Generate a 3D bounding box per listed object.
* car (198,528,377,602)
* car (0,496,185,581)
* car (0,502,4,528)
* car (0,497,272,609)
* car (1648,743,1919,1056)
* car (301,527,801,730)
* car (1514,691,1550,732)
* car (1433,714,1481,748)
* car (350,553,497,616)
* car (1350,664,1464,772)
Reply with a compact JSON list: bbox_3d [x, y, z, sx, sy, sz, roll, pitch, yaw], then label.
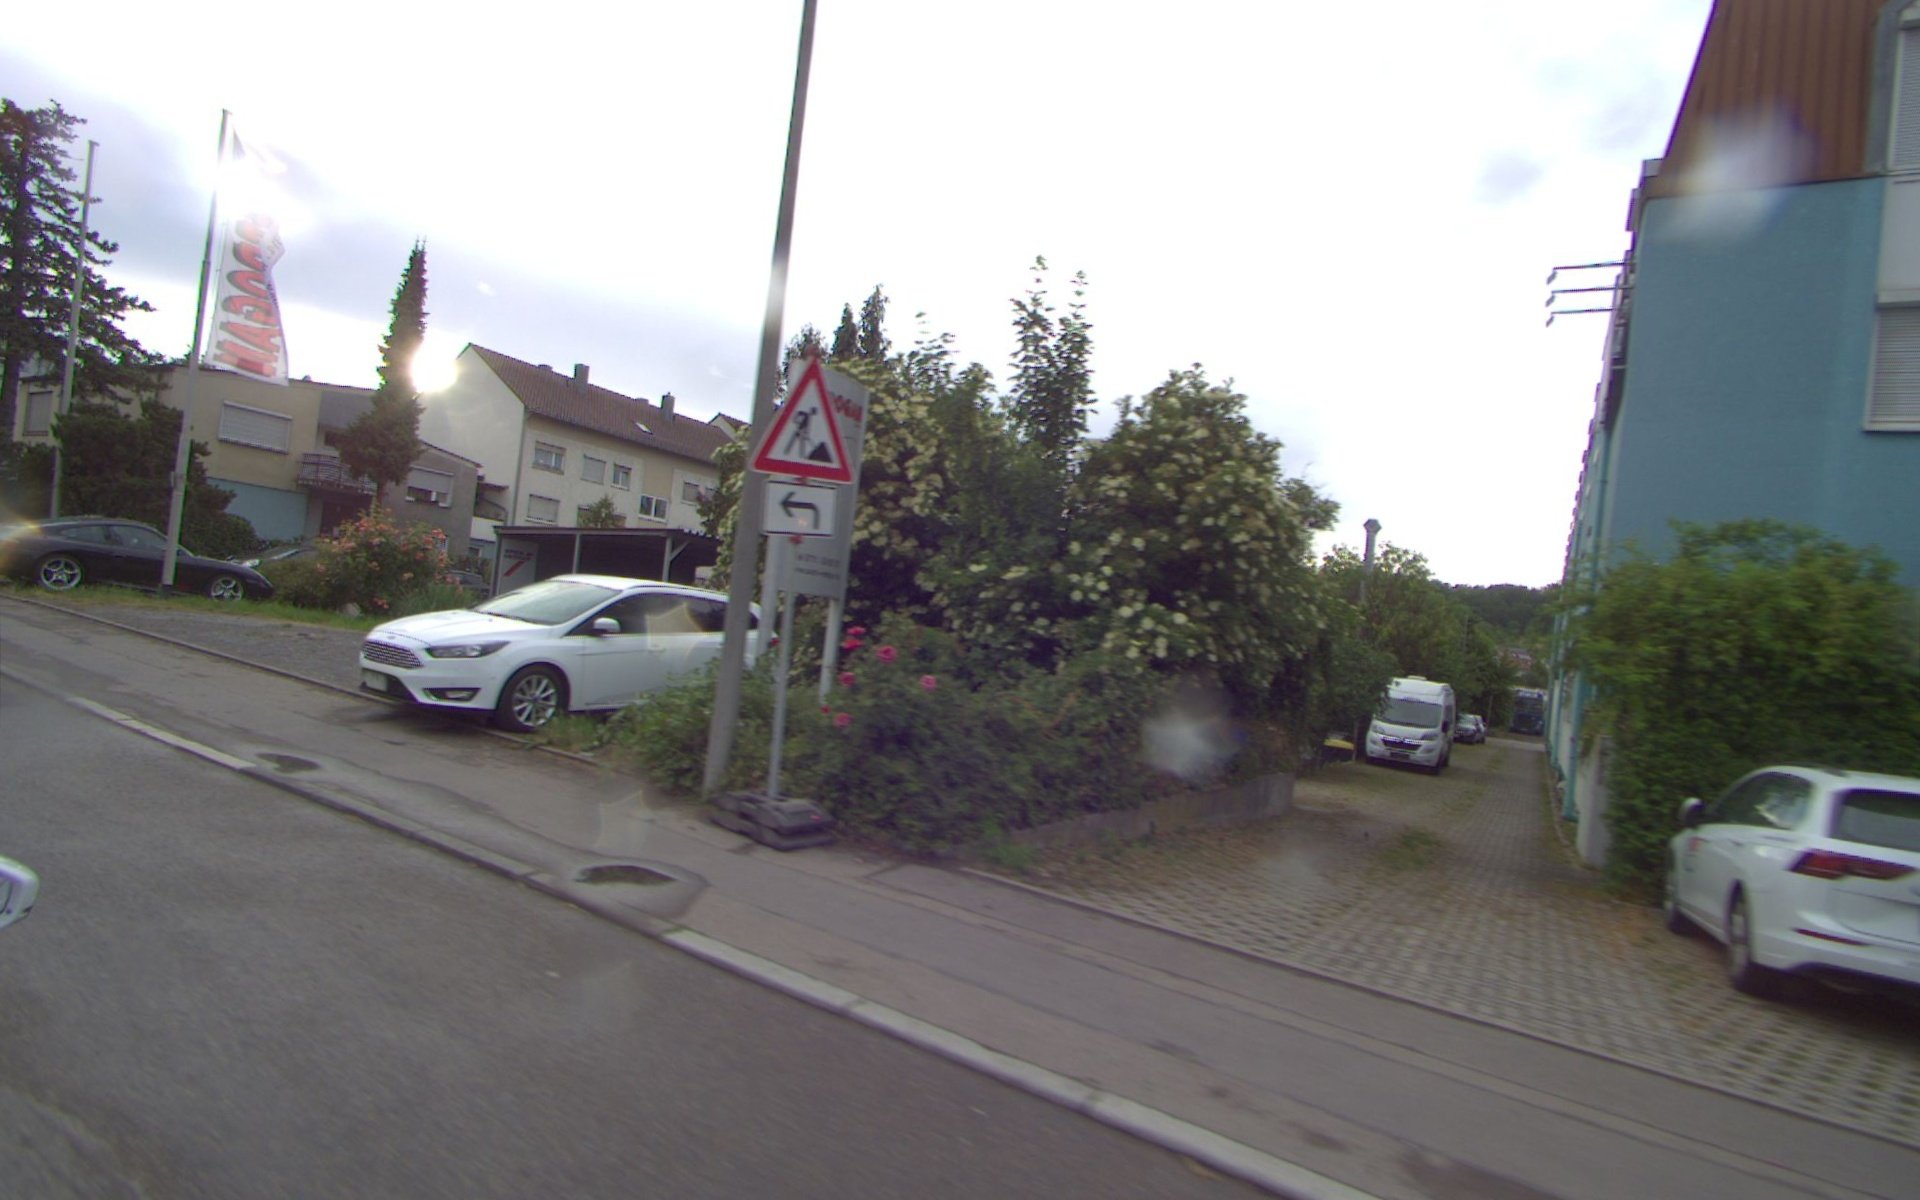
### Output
[{"bbox_3d":[-20.303,-1.029,30.518,1.911,1.524,3.956,6,-3,29],"label":"car"},{"bbox_3d":[-22.834,-1.576,26.214,1.828,1.555,3.625,6,-3,29],"label":"car"},{"bbox_3d":[-24.707,-2.015,22.757,1.918,1.280,3.999,6,-3,29],"label":"car"},{"bbox_3d":[-14.582,-0.801,17.314,1.919,1.280,3.996,6,-4,33],"label":"car"},{"bbox_3d":[6.114,1.843,6.787,1.848,1.408,4.429,7,-3,29],"label":"car"},{"bbox_3d":[-3.804,0.425,10.221,1.871,1.492,4.349,6,-3,30],"label":"car"},{"bbox_3d":[48.314,9.441,85.085,2.083,3.056,5.671,7,-3,28],"label":"car"},{"bbox_3d":[25.307,6.615,51.225,1.965,1.338,4.000,7,-2,27],"label":"car"},{"bbox_3d":[-18.210,-0.496,34.301,1.966,1.491,3.846,6,-3,29],"label":"car"},{"bbox_3d":[14.004,3.687,31.267,2.408,2.739,5.945,6,-3,30],"label":"car"}]
